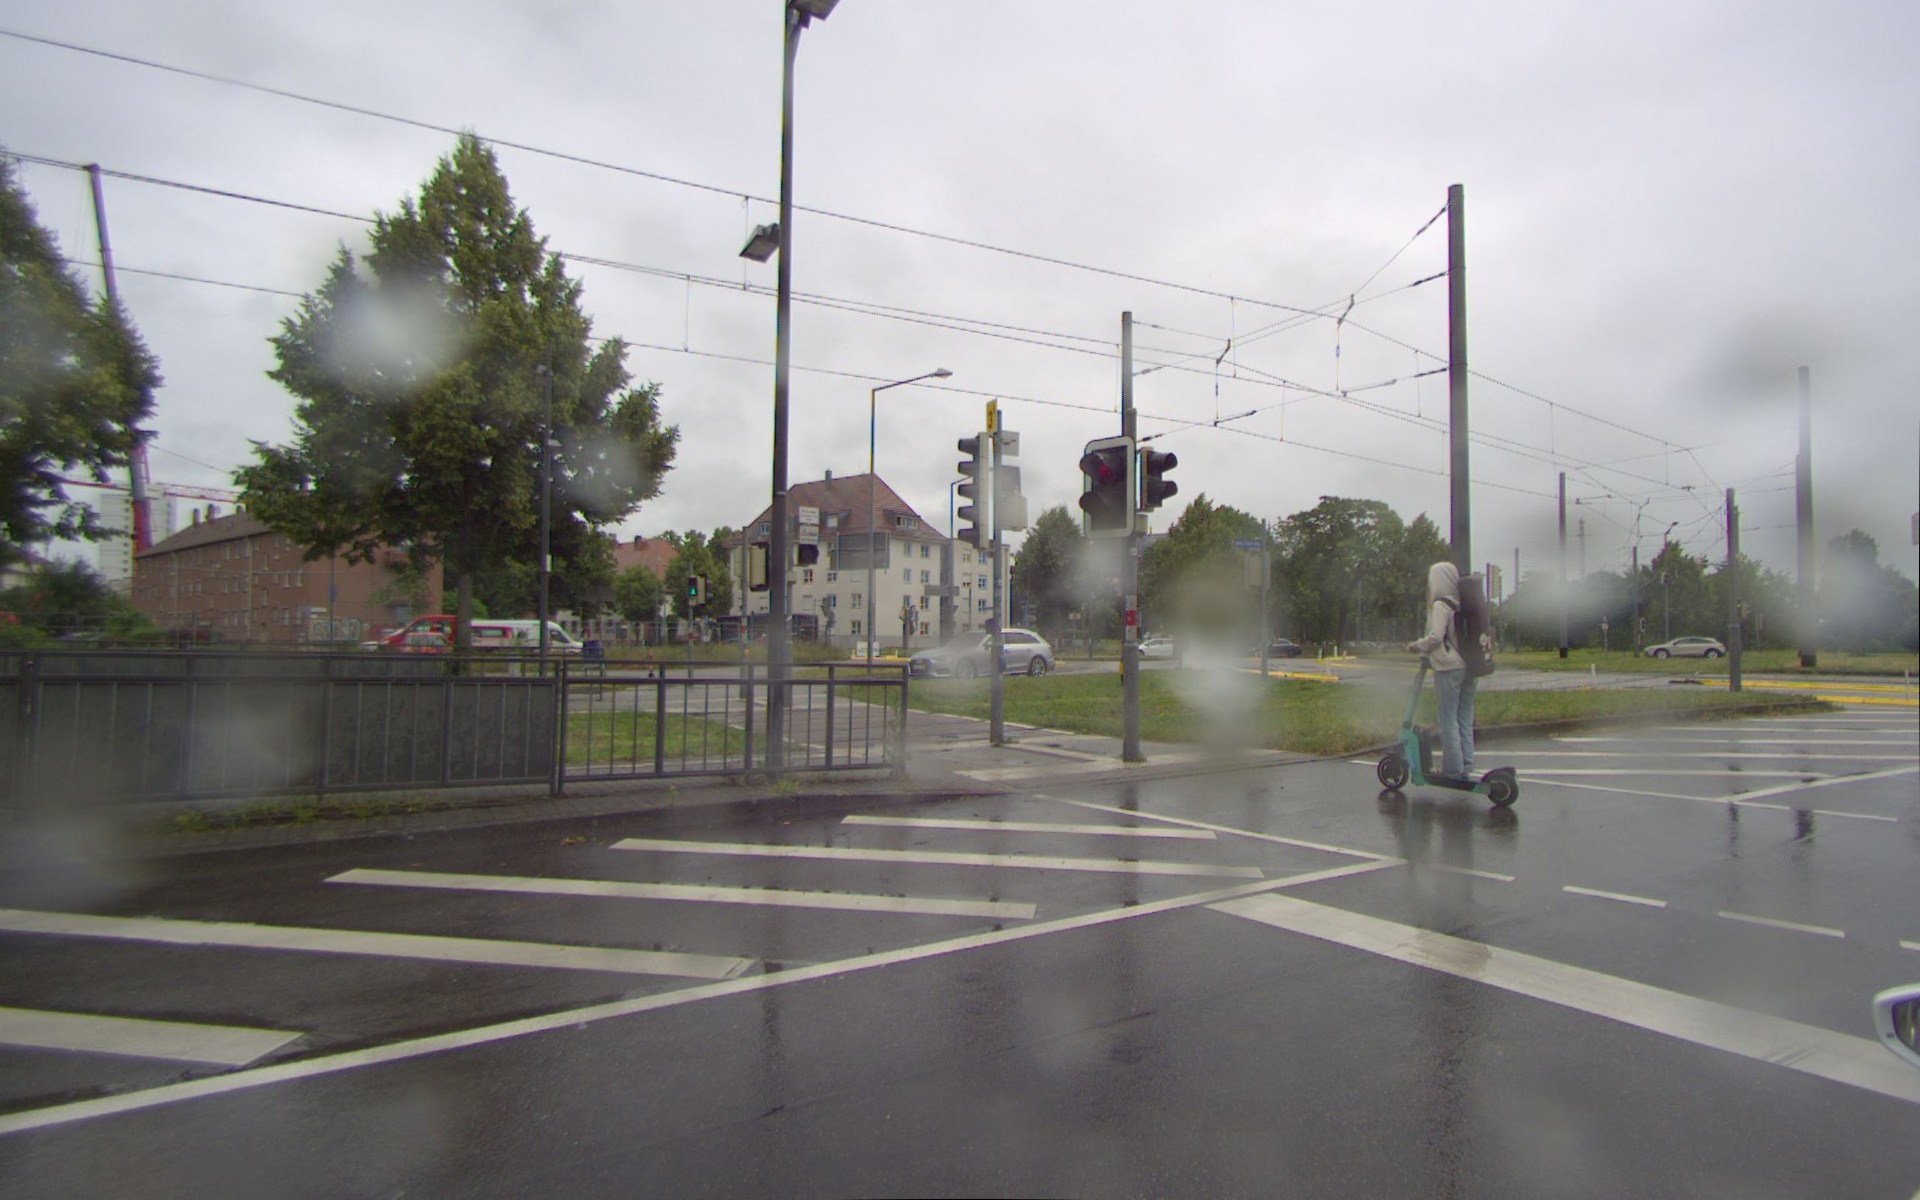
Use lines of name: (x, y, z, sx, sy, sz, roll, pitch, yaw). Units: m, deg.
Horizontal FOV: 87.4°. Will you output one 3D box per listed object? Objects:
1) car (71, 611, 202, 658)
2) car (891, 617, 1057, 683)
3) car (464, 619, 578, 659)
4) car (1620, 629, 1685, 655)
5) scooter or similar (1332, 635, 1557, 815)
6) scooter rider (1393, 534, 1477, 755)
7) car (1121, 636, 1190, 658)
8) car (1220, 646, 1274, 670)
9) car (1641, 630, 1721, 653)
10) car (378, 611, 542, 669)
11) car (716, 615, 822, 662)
car: (-45.509, 1.928, 55.709, 5.441, 2.485, 1.980, 2, 0, -36)
car: (0.444, 1.318, 27.351, 4.371, 1.649, 1.975, 2, -2, -42)
car: (-25.961, 2.287, 59.613, 6.004, 2.308, 1.617, 1, -2, -18)
car: (53.908, 3.260, 78.225, 3.921, 1.840, 1.681, 2, 0, -1)
scooter or similar: (3.927, 0.963, 8.213, 1.565, 1.276, 0.446, 2, 0, 38)
scooter rider: (3.895, 0.362, 8.238, 0.524, 1.731, 0.432, -2, -3, 37)
car: (13.606, 3.284, 70.131, 4.530, 1.473, 1.624, 0, -2, 3)
car: (20.883, 4.211, 73.083, 3.428, 1.563, 1.616, 2, 0, -18)
car: (47.503, 2.723, 66.228, 4.036, 1.473, 1.622, -1, -2, 26)
car: (-22.233, 1.773, 44.950, 6.389, 2.503, 1.616, 1, -2, -20)
car: (-16.532, 3.243, 86.247, 10.793, 3.770, 2.447, 0, -2, 39)
